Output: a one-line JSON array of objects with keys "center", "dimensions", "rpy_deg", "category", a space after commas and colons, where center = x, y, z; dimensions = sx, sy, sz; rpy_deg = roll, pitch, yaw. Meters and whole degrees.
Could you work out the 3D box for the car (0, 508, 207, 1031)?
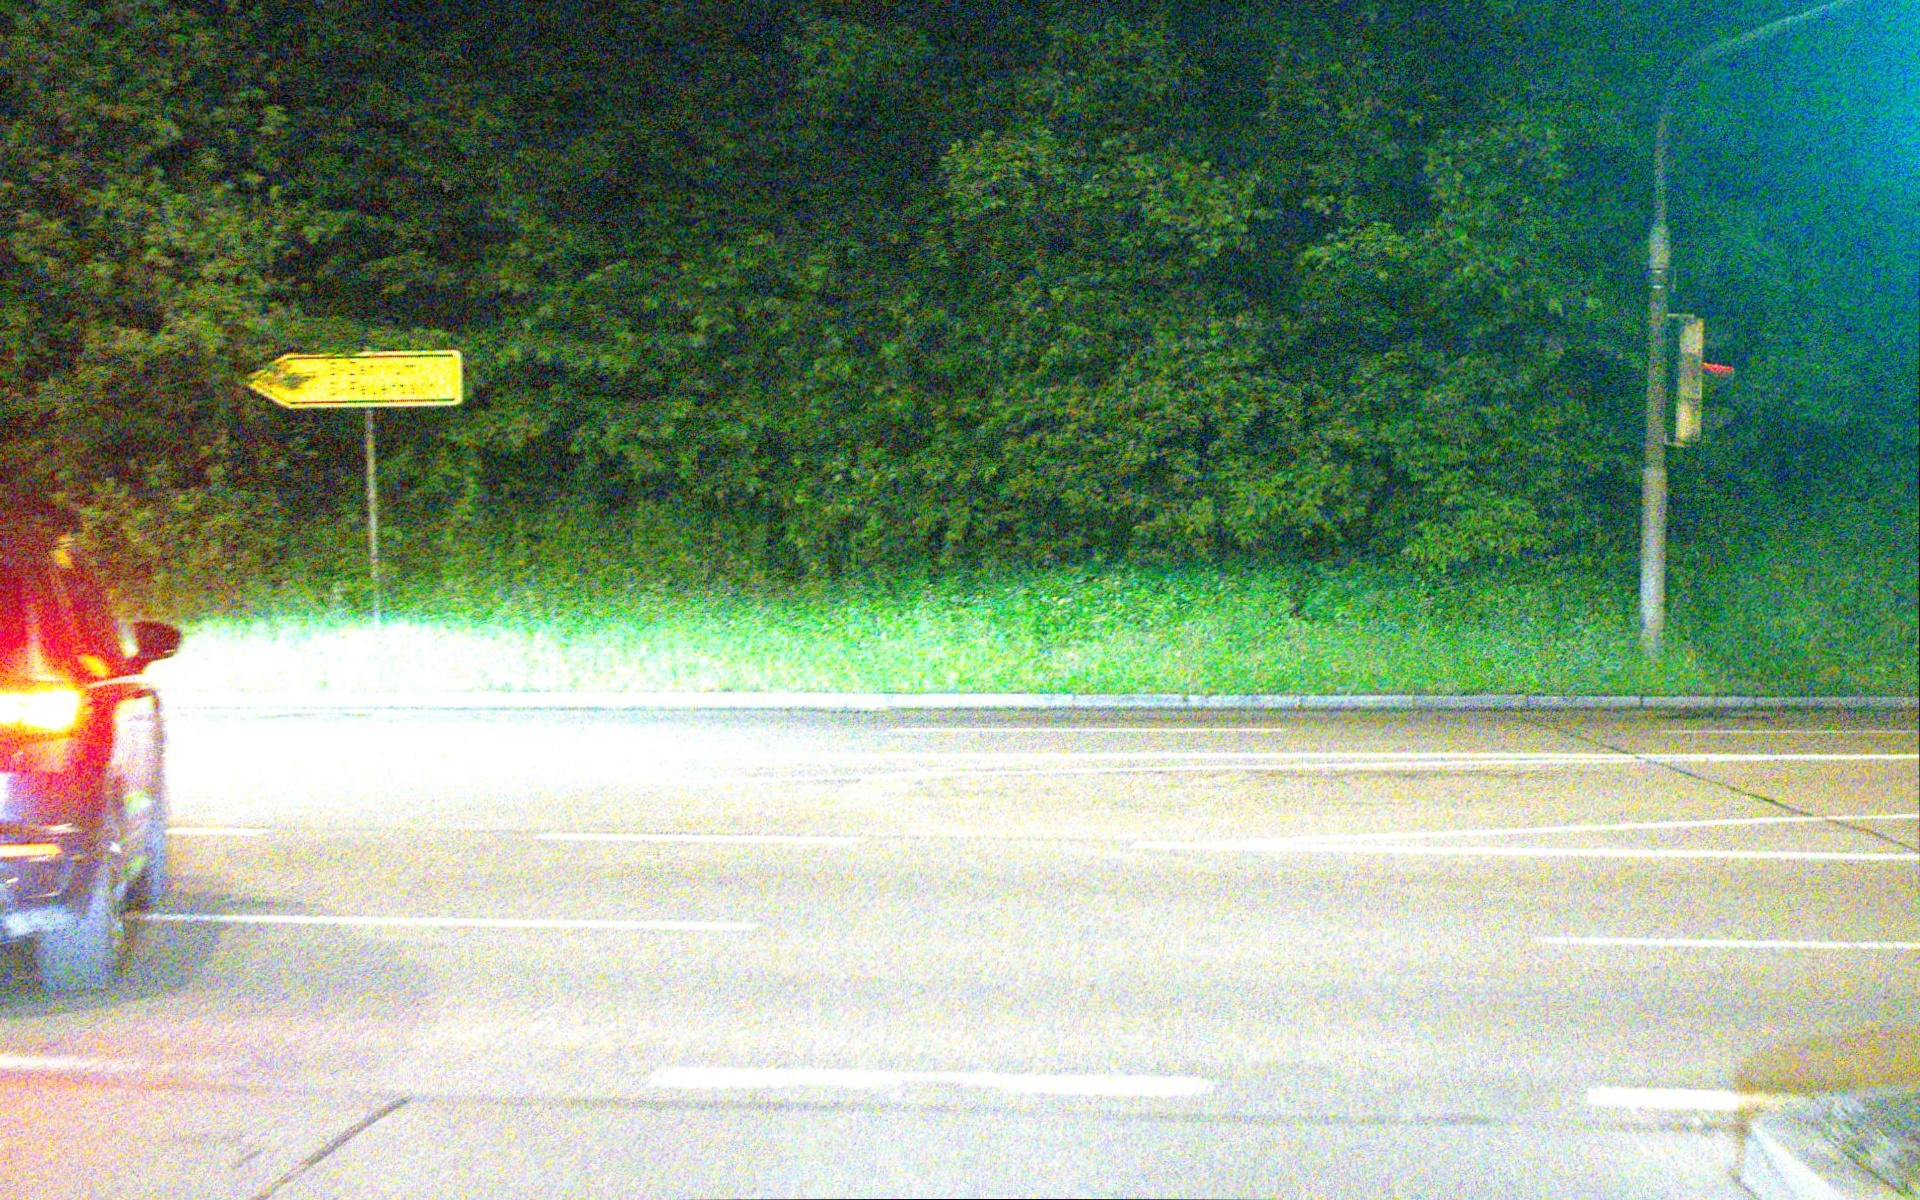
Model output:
[{"center": [-3.785, 0.468, 12.266], "dimensions": [1.851, 1.577, 4.008], "rpy_deg": [0, 1, -8], "category": "car"}]
